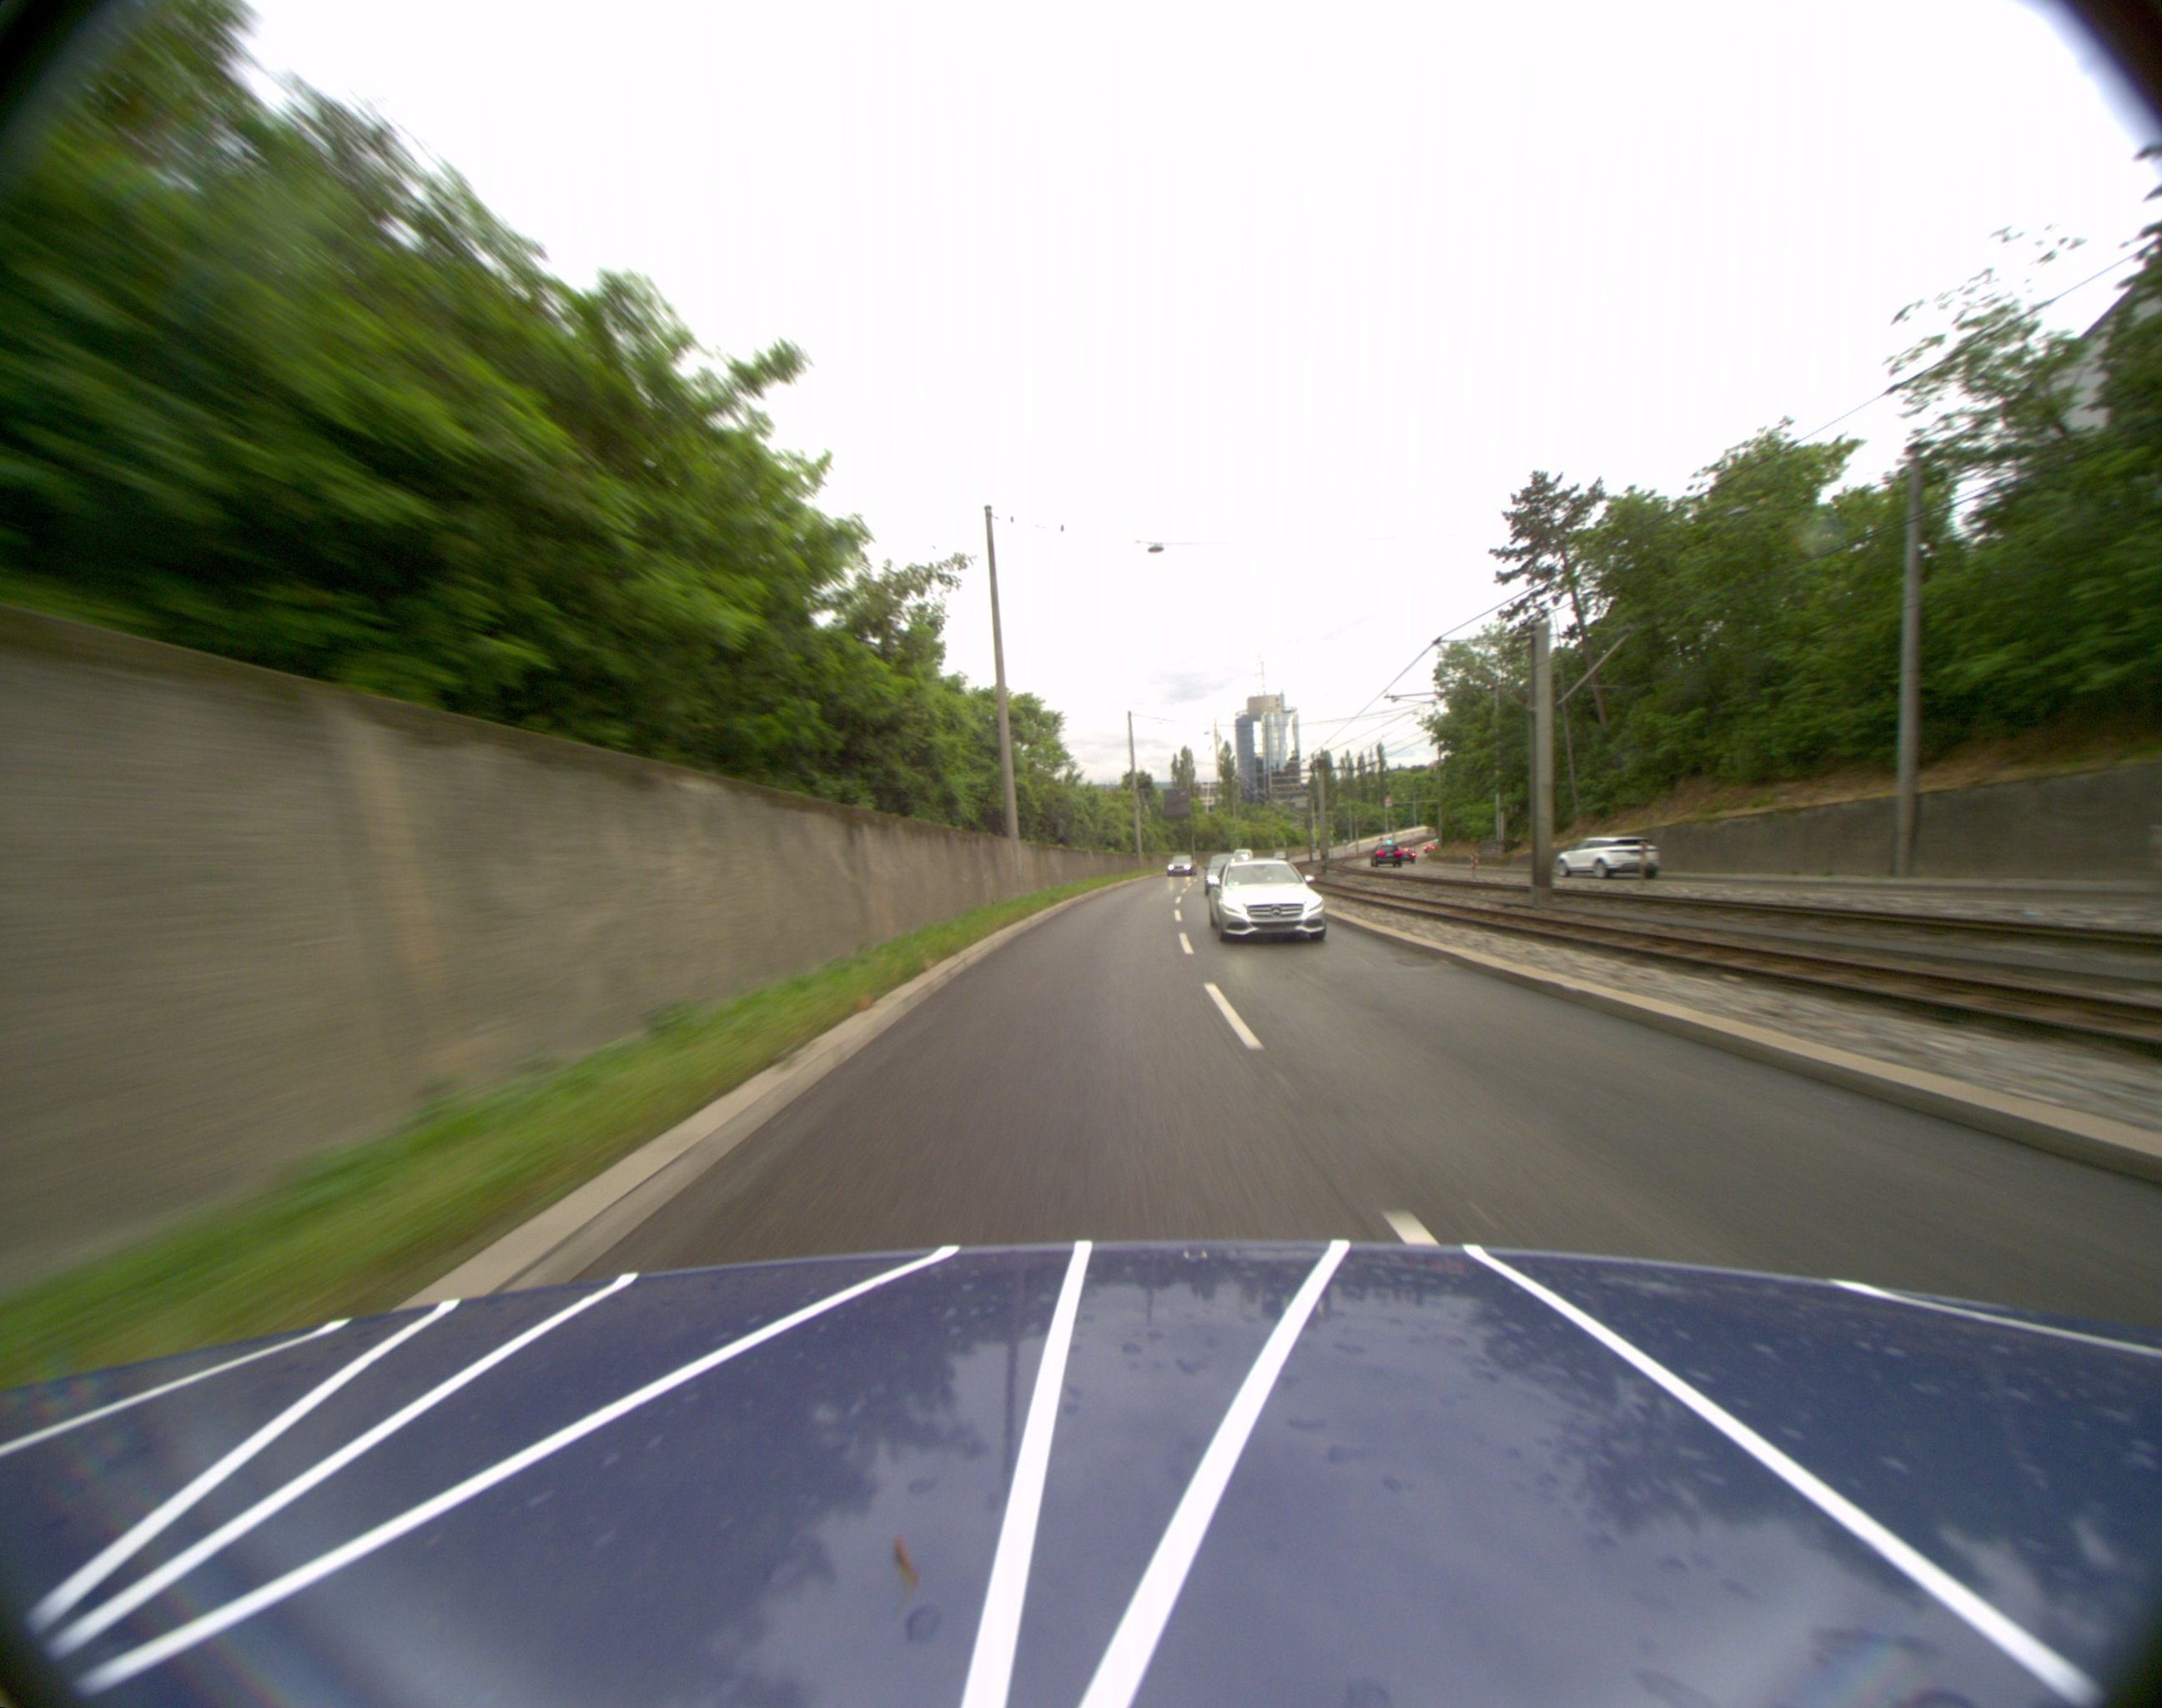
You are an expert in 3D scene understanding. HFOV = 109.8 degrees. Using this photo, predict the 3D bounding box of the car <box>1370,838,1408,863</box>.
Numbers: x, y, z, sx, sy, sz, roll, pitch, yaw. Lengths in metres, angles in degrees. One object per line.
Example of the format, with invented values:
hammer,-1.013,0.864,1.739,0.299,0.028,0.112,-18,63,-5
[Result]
car,24.300,-0.315,60.082,2.236,1.820,5.143,-2,0,17

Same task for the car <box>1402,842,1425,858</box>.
car,32.670,-0.387,74.676,1.826,1.462,4.420,-1,0,21

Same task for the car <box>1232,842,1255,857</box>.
car,20.268,-0.532,94.525,1.807,1.501,4.005,-4,2,26

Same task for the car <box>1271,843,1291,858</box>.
car,27.904,-0.486,105.831,1.995,2.002,4.501,-2,0,23

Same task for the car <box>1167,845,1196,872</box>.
car,6.898,0.290,52.602,1.809,1.501,4.000,-4,2,7

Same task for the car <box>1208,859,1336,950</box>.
car,3.499,0.859,14.689,1.860,1.395,4.317,-1,1,7

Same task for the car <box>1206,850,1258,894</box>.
car,5.625,0.627,28.577,1.728,1.462,3.890,-3,0,10

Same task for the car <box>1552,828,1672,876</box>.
car,20.760,-0.074,29.966,1.939,1.673,4.410,-2,0,5
